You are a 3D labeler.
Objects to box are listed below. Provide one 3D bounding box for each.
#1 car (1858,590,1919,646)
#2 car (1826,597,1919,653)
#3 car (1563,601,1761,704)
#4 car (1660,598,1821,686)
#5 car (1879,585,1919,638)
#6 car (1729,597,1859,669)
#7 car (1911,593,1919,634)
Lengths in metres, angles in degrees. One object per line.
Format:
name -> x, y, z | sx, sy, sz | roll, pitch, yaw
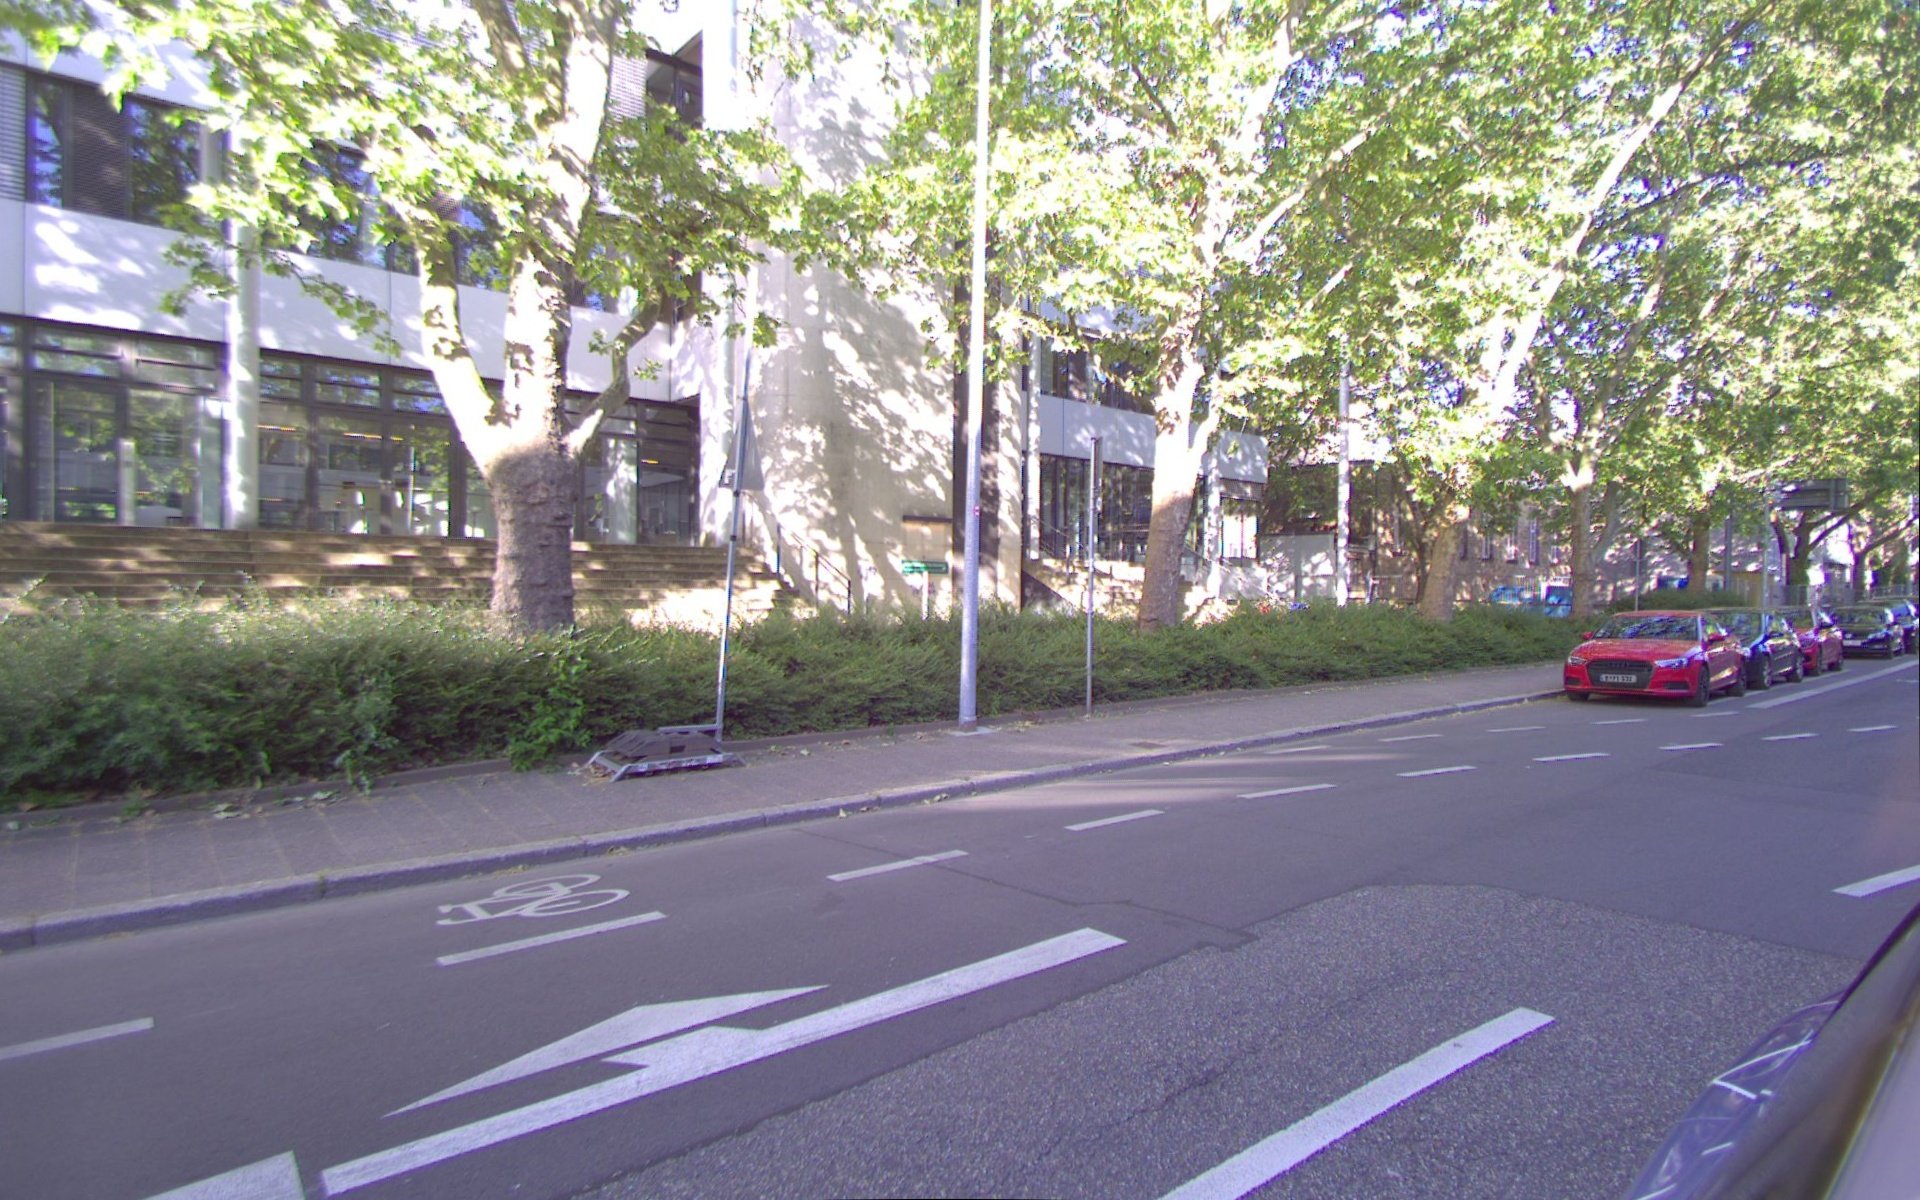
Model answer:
car -> 29.507, 0.527, 31.637 | 3.770, 1.640, 1.684 | 0, 1, -41
car -> 26.006, 0.658, 28.684 | 3.930, 1.469, 1.684 | 0, 1, -41
car -> 11.237, 0.757, 16.102 | 3.962, 1.439, 1.722 | 0, -2, -42
car -> 14.802, 0.706, 19.129 | 3.930, 1.485, 1.684 | 0, 0, -41
car -> 33.961, 0.394, 35.693 | 4.354, 1.790, 1.818 | 0, 1, -41
car -> 18.603, 0.678, 22.524 | 3.715, 1.452, 1.664 | 0, 1, -41
car -> 38.699, 0.515, 39.709 | 3.801, 1.581, 1.684 | 0, 1, -41
